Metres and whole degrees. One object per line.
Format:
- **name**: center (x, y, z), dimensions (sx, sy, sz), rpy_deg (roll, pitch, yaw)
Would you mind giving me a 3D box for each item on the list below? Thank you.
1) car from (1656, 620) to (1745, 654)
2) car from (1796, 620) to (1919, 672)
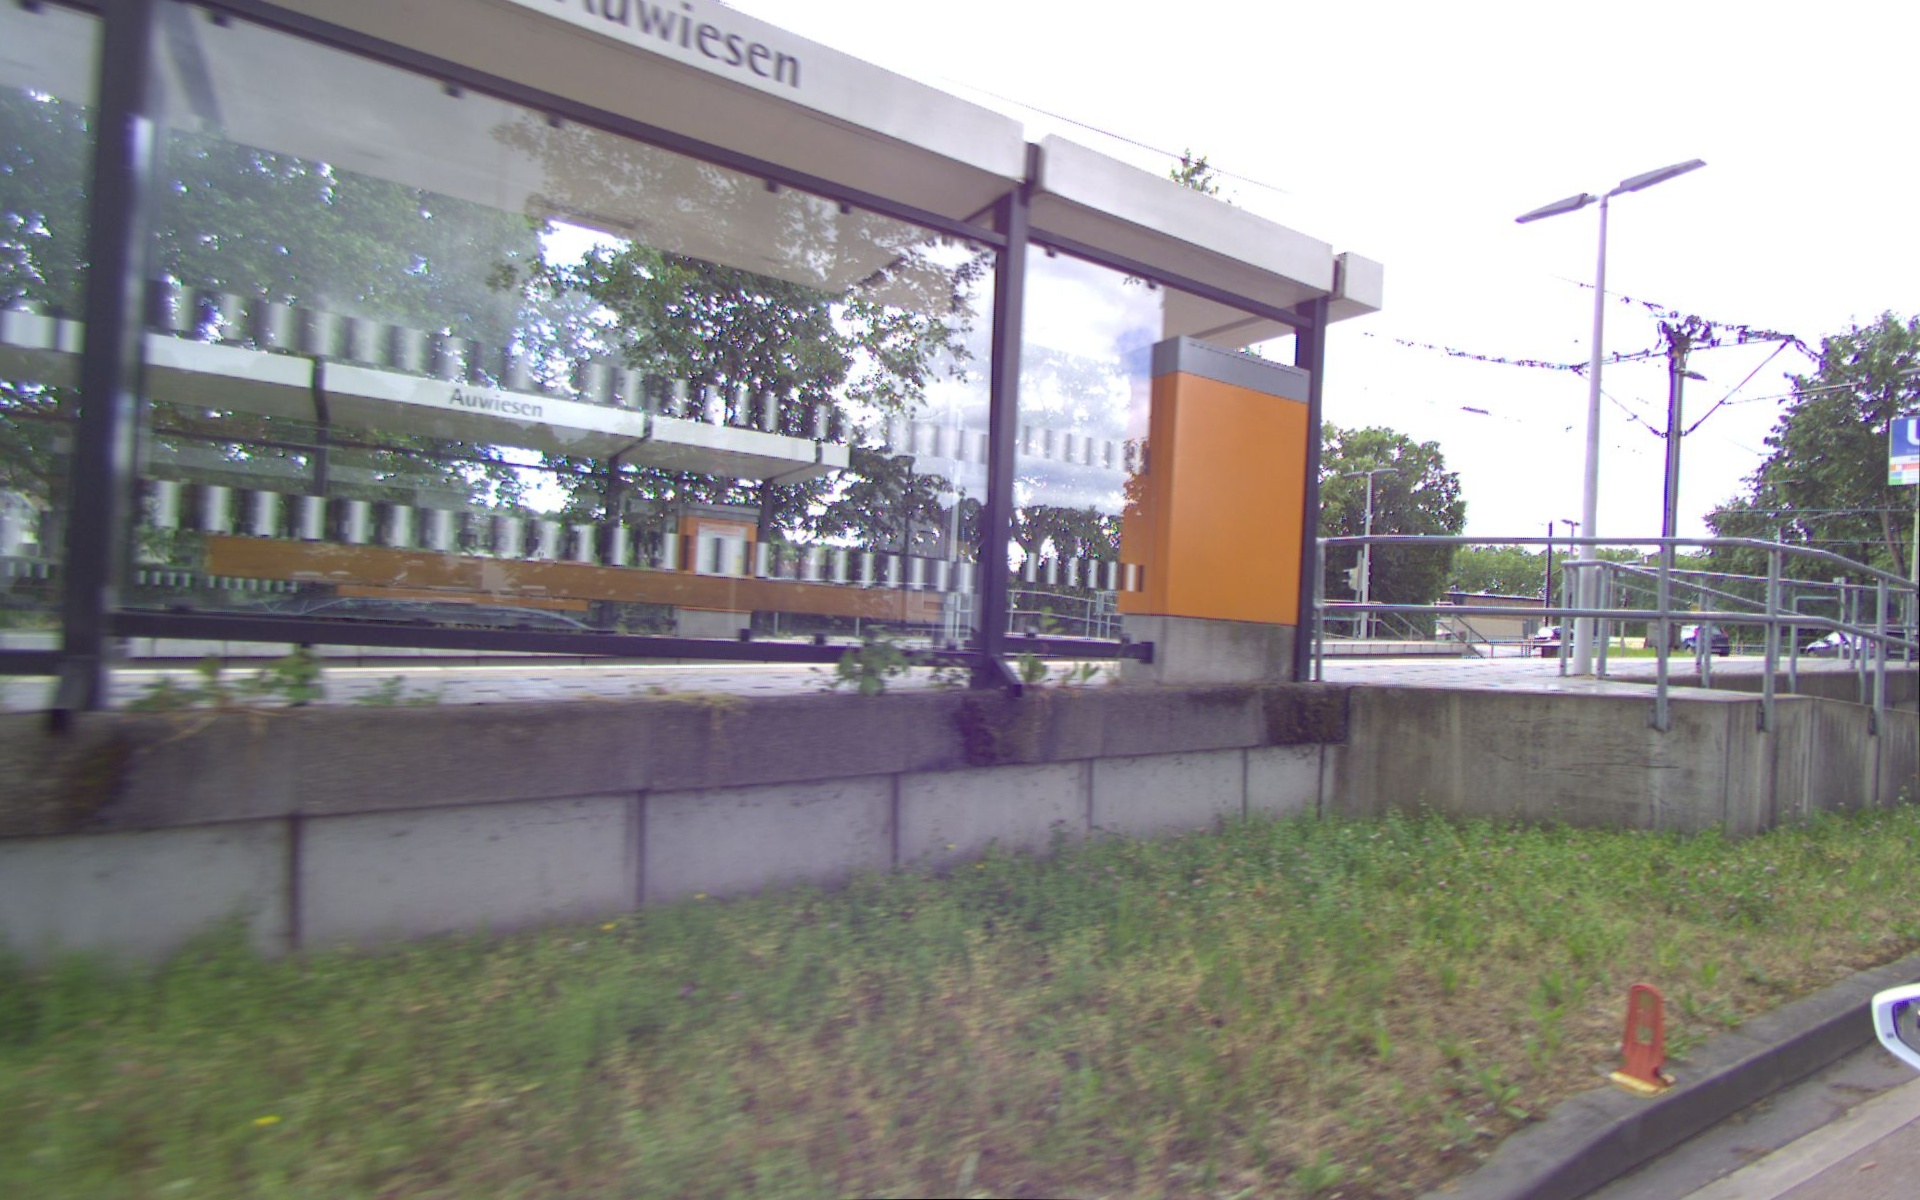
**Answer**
- **car**: center (35.366, 1.734, 48.088), dimensions (1.959, 1.418, 4.002), rpy_deg (2, 0, 13)
- **car**: center (32.398, 1.619, 36.279), dimensions (1.751, 1.670, 4.002), rpy_deg (2, 0, 14)
